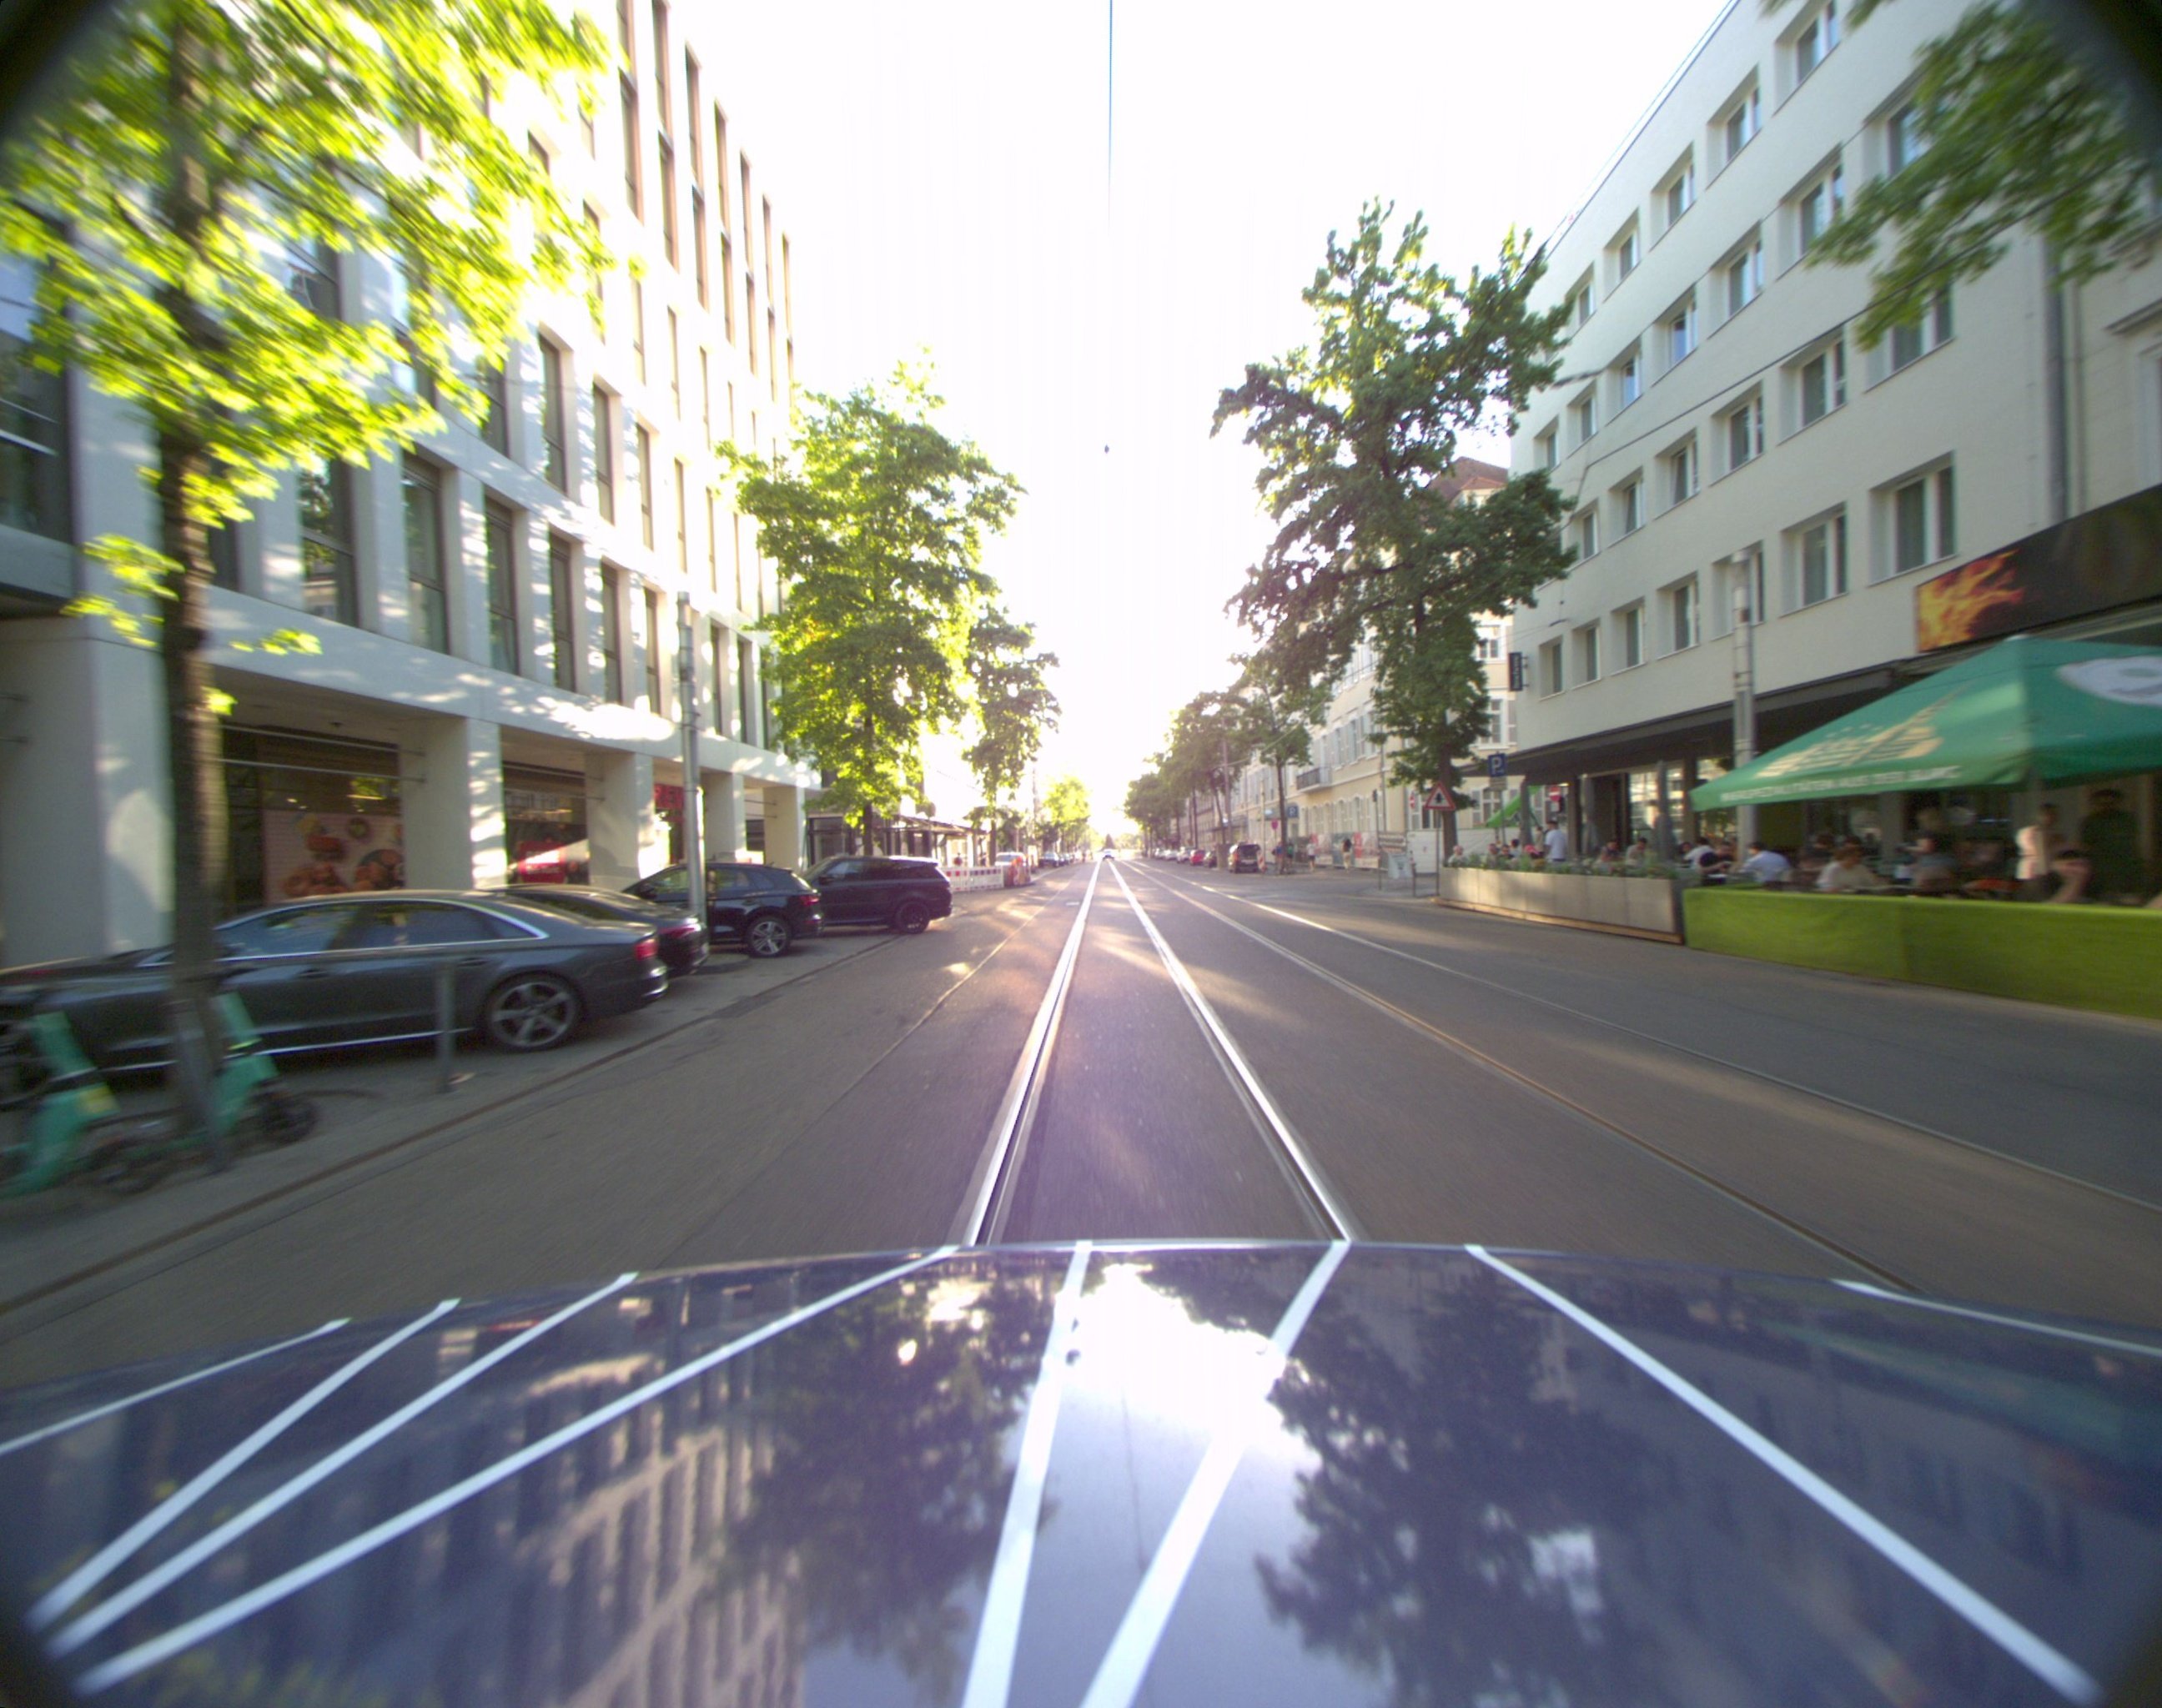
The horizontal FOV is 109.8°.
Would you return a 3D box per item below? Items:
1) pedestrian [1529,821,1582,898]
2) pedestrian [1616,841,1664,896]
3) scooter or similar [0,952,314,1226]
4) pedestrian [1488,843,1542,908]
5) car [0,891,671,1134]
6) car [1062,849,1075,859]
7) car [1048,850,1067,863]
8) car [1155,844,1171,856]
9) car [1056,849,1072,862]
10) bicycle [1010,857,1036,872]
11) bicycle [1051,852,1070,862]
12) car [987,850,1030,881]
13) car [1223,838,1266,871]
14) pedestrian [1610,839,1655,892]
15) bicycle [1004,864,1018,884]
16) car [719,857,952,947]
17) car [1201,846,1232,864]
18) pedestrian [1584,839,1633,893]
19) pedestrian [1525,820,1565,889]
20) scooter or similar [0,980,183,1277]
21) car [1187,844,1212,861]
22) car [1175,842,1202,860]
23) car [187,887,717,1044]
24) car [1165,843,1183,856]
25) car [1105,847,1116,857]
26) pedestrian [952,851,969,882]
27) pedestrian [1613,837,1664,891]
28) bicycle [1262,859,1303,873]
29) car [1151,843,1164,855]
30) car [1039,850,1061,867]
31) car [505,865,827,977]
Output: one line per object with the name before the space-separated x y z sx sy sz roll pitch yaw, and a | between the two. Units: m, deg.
pedestrian | 11.500 0.121 18.419 0.759 1.781 0.686 -4 1 -2
pedestrian | 13.033 0.321 17.721 0.553 1.228 0.687 -4 1 2
scooter or similar | -5.457 1.293 4.451 0.457 1.269 1.309 3 1 39
pedestrian | 9.726 0.465 17.065 0.691 1.378 0.807 -4 1 3
car | -6.670 1.179 6.848 5.070 1.460 1.972 0 1 -34
car | -1.906 0.021 116.131 1.798 1.502 3.986 0 1 2
car | -2.765 0.294 89.208 1.871 1.502 4.242 0 1 -6
car | 12.615 -0.606 117.448 1.952 1.731 4.766 -5 0 2
car | -2.189 0.178 98.944 1.770 1.502 4.287 -2 1 3
bicycle | -4.277 0.777 56.091 1.816 1.128 0.841 0 2 9
bicycle | -2.592 0.373 95.629 2.325 1.181 0.751 -2 1 3
car | -4.239 0.628 45.158 2.028 1.727 4.906 0 1 0
car | 10.182 0.004 47.641 1.862 1.822 4.559 -3 1 3
pedestrian | 13.579 0.274 18.727 0.553 1.228 0.687 -4 1 2
bicycle | -3.705 1.069 40.217 0.494 0.976 1.930 -2 1 0
car | -5.430 0.956 16.906 4.674 1.753 1.990 0 1 -27
car | 10.882 0.073 61.168 1.722 1.238 4.507 -5 1 1
pedestrian | 12.971 0.288 18.700 0.628 1.274 0.727 -4 1 2
pedestrian | 12.678 0.001 20.783 0.685 1.805 0.765 -4 1 17
scooter or similar | -5.387 1.319 3.622 1.309 1.269 0.563 1 1 -30
car | 10.872 -0.131 69.948 1.664 1.397 4.141 -5 1 3
car | 11.211 -0.329 79.652 1.870 1.679 4.950 -5 1 -1
car | -7.245 1.219 9.458 4.671 1.418 1.930 0 1 -19
car | 11.965 -0.536 98.032 1.897 1.458 4.617 -5 0 2
car | 5.038 -0.318 128.943 1.827 1.603 3.796 -2 1 2
pedestrian | -7.419 0.776 46.821 0.835 1.886 0.918 -1 1 4
pedestrian | 13.630 0.246 18.601 0.646 1.262 0.738 -4 1 2
bicycle | 10.343 0.624 39.102 1.799 0.605 1.282 -3 0 5
car | 13.256 -0.813 132.310 1.931 1.946 4.766 -2 0 2
car | -3.260 0.460 81.369 1.985 1.679 4.873 0 1 2
car | -6.995 1.057 13.403 4.672 1.645 2.004 0 1 -22
